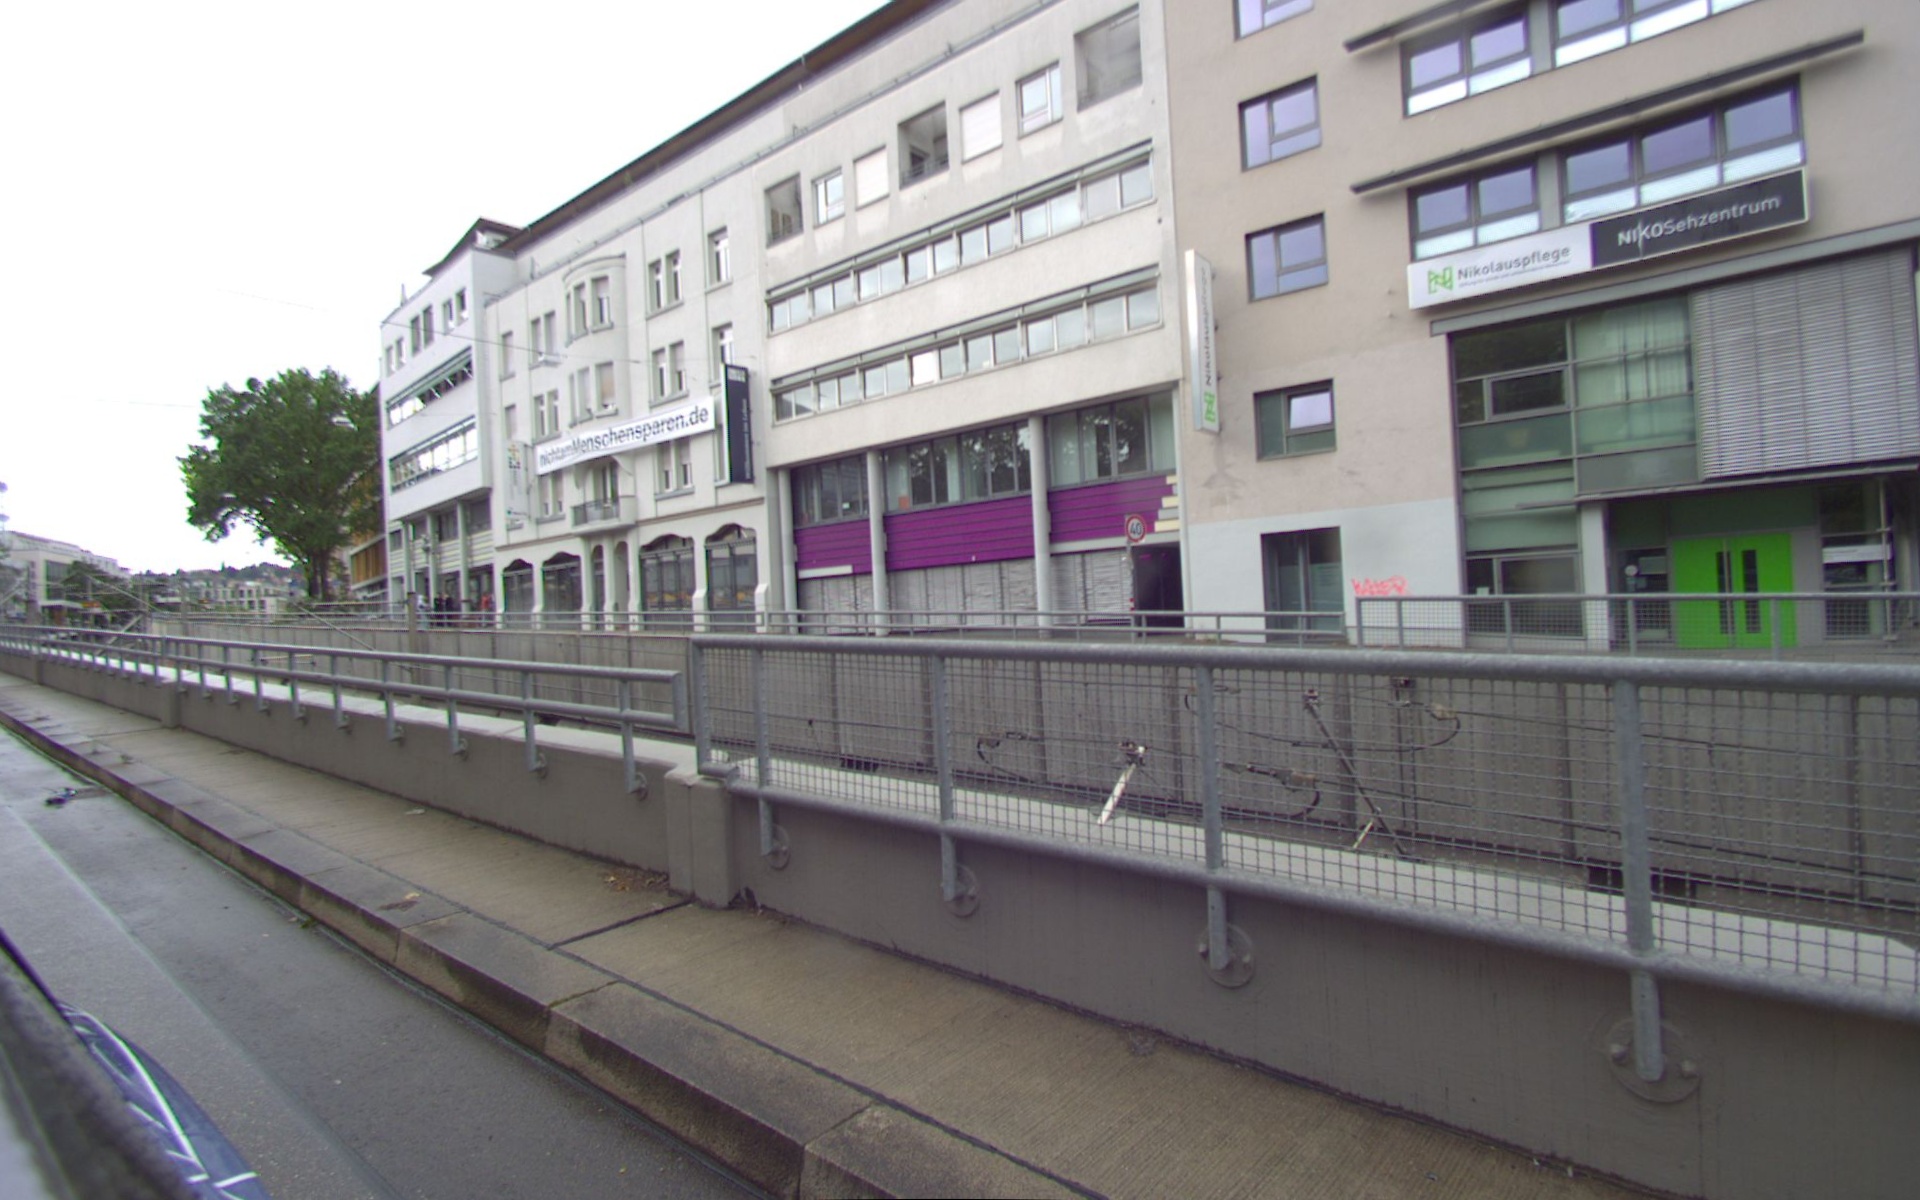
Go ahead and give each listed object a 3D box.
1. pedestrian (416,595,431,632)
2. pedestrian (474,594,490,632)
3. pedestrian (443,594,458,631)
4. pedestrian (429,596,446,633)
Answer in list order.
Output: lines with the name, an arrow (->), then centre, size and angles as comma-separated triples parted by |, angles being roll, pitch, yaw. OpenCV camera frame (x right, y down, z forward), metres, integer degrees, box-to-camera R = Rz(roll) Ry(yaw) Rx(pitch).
pedestrian -> -26.719, 0.667, 50.424 | 0.463, 1.816, 0.548 | -3, 1, -42
pedestrian -> -23.026, 0.626, 48.759 | 0.547, 1.816, 0.464 | -1, 1, 40
pedestrian -> -25.417, 0.623, 50.482 | 0.547, 1.816, 0.463 | -2, 1, 44
pedestrian -> -26.432, 0.723, 51.230 | 0.469, 1.816, 0.541 | -2, 1, 33
